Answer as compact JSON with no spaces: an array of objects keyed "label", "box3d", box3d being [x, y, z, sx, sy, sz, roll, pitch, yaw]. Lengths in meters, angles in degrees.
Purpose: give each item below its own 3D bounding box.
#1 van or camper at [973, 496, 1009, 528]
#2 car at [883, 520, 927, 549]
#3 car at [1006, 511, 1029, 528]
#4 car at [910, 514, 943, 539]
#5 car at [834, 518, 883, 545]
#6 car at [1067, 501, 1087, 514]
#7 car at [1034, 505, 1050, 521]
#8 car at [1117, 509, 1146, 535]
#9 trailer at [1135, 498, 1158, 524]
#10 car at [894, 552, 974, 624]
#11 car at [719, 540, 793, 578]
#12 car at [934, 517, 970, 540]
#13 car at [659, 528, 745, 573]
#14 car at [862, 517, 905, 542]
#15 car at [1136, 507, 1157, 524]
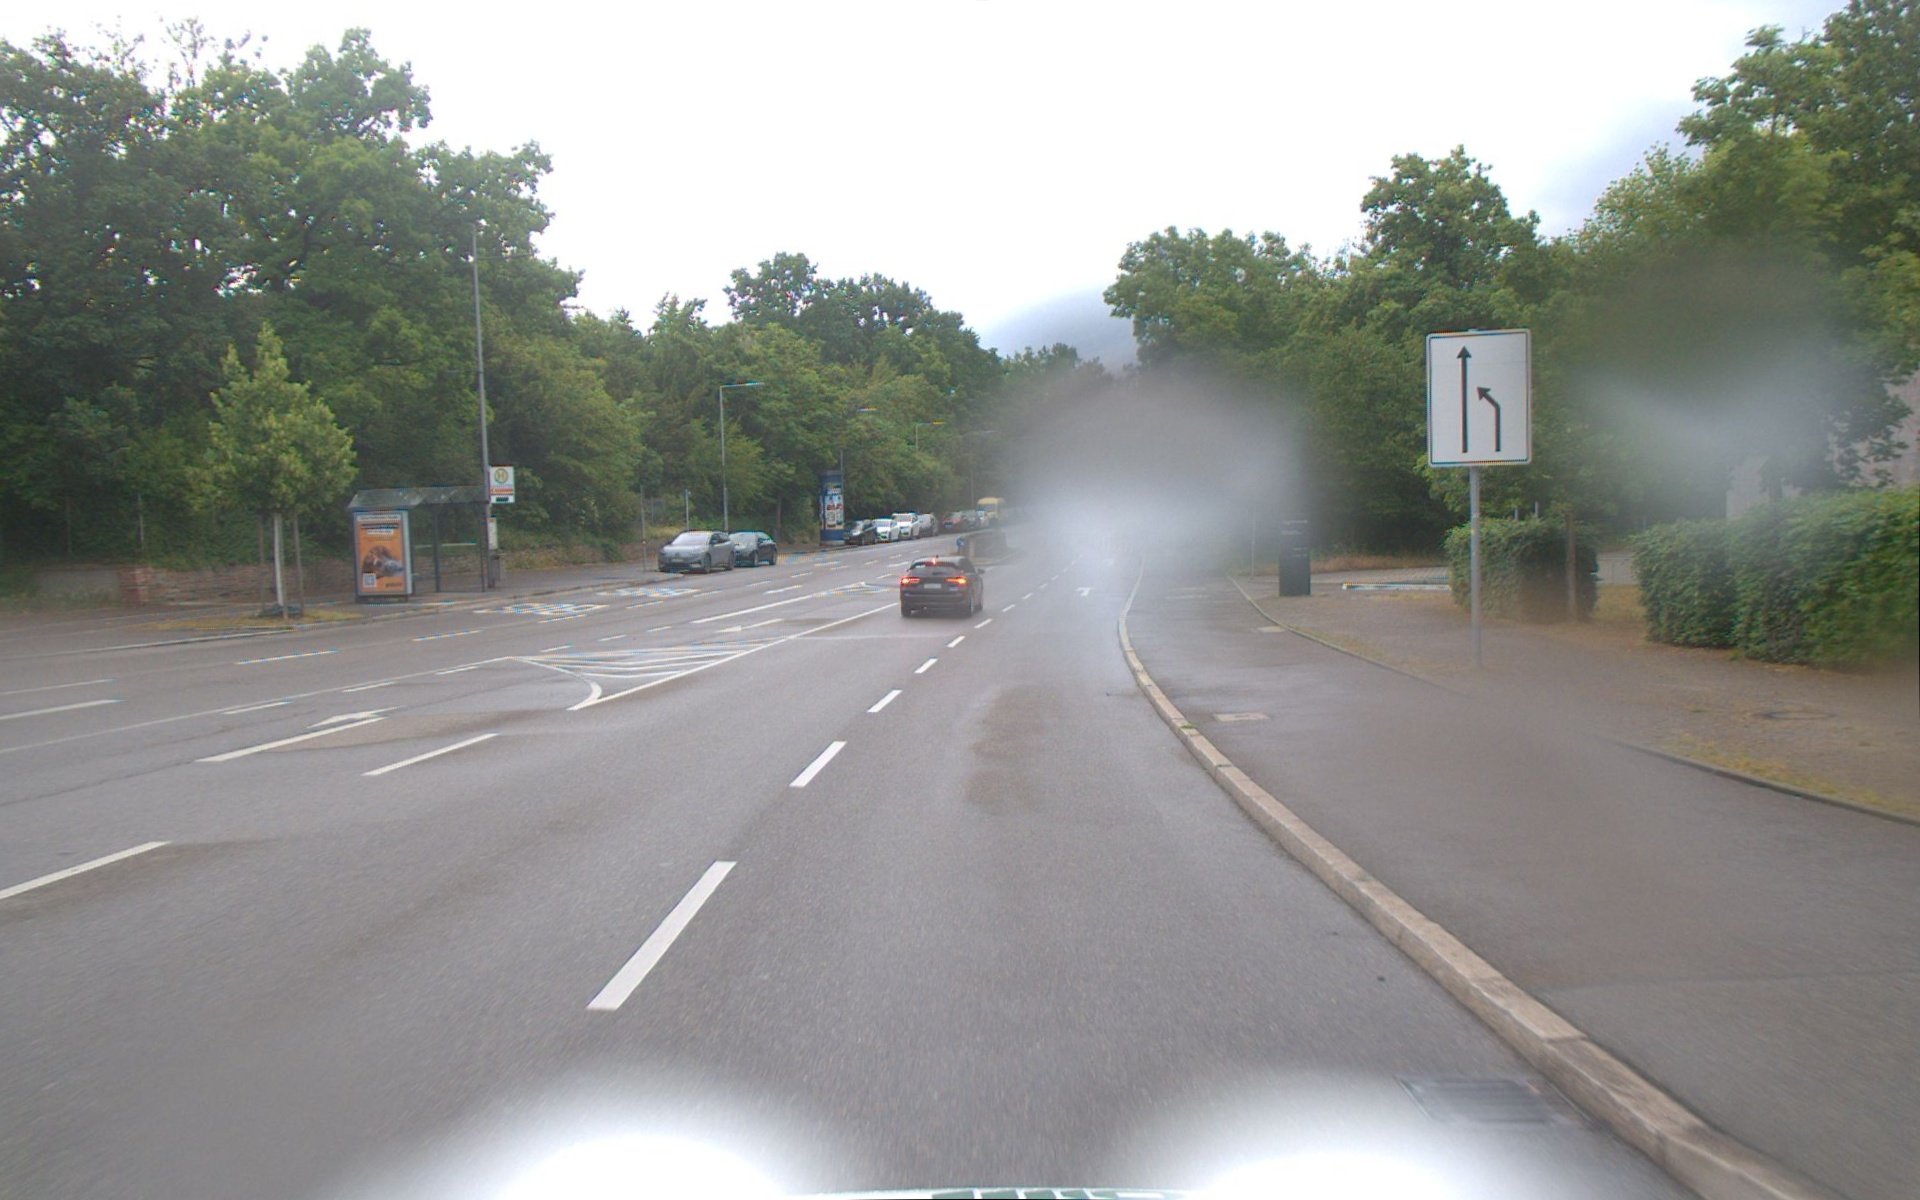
[{"label":"van or camper","box3d":[2.763,-7.767,145.900,2.098,2.672,5.690,0,4,11]},{"label":"car","box3d":[-3.616,-4.375,110.308,1.951,1.795,4.966,0,3,9]},{"label":"car","box3d":[5.647,-7.858,161.825,1.568,1.536,3.982,0,4,11]},{"label":"car","box3d":[-2.351,-5.206,117.268,1.694,1.677,4.577,0,4,7]},{"label":"car","box3d":[-5.981,-4.085,98.372,1.712,1.470,4.593,0,4,12]},{"label":"car","box3d":[14.737,-11.589,207.758,1.951,1.513,4.474,0,4,11]},{"label":"car","box3d":[8.872,-9.399,178.830,1.429,1.598,2.988,0,4,9]},{"label":"car","box3d":[10.846,-4.965,104.869,1.783,1.642,4.256,0,3,6]},{"label":"trailer","box3d":[17.249,-8.281,153.102,1.865,2.286,4.774,0,4,10]},{"label":"car","box3d":[-0.607,-0.338,40.904,1.842,1.491,4.002,1,4,1]},{"label":"car","box3d":[-8.573,-1.760,69.967,1.865,1.438,4.788,1,3,9]},{"label":"car","box3d":[-0.600,-5.599,128.571,1.878,1.644,4.496,-1,3,11]},{"label":"car","box3d":[-9.892,-1.934,63.780,1.801,1.616,4.934,1,3,9]},{"label":"car","box3d":[-4.767,-4.466,104.294,1.681,1.485,4.714,0,4,10]},{"label":"car","box3d":[16.523,-7.490,146.302,1.783,1.511,4.204,0,3,7]}]
